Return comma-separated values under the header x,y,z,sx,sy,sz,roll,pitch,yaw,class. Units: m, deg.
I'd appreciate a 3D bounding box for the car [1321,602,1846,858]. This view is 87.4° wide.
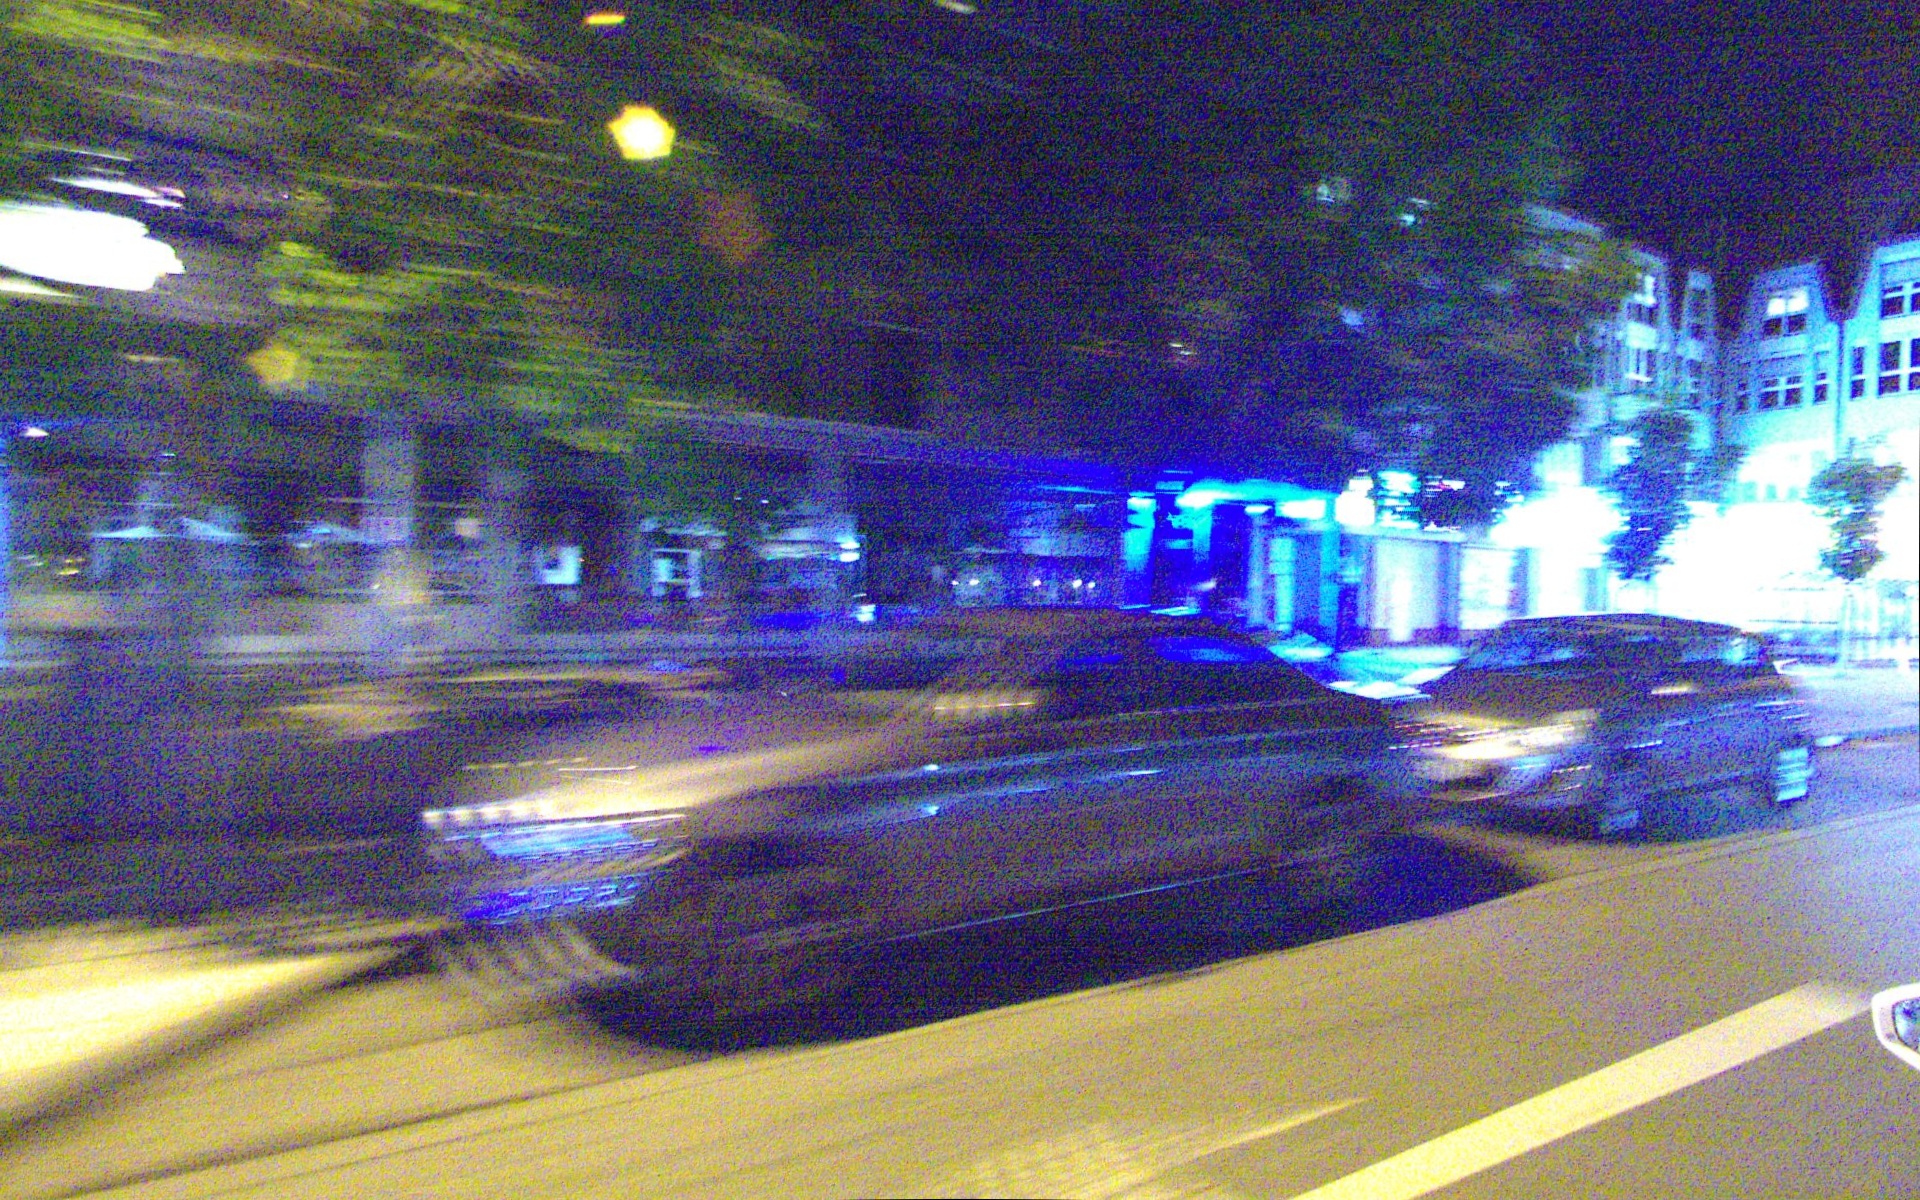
x,y,z,sx,sy,sz,roll,pitch,yaw,class
4.839,0.811,7.714,3.929,1.448,1.714,1,2,-30,car

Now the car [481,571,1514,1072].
x,y,z,sx,sy,sz,roll,pitch,yaw,class
0.391,0.675,4.958,4.862,1.444,1.798,1,2,-30,car

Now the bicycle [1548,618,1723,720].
x,y,z,sx,sy,sz,roll,pitch,yaw,class
8.764,0.854,13.123,0.526,1.182,1.842,1,0,-29,bicycle

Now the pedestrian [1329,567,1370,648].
x,y,z,sx,sy,sz,roll,pitch,yaw,class
8.097,0.156,20.909,0.624,1.658,0.476,1,1,-29,pedestrian

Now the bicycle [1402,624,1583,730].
x,y,z,sx,sy,sz,roll,pitch,yaw,class
6.182,0.857,11.774,0.526,1.013,1.842,1,2,-29,bicycle
